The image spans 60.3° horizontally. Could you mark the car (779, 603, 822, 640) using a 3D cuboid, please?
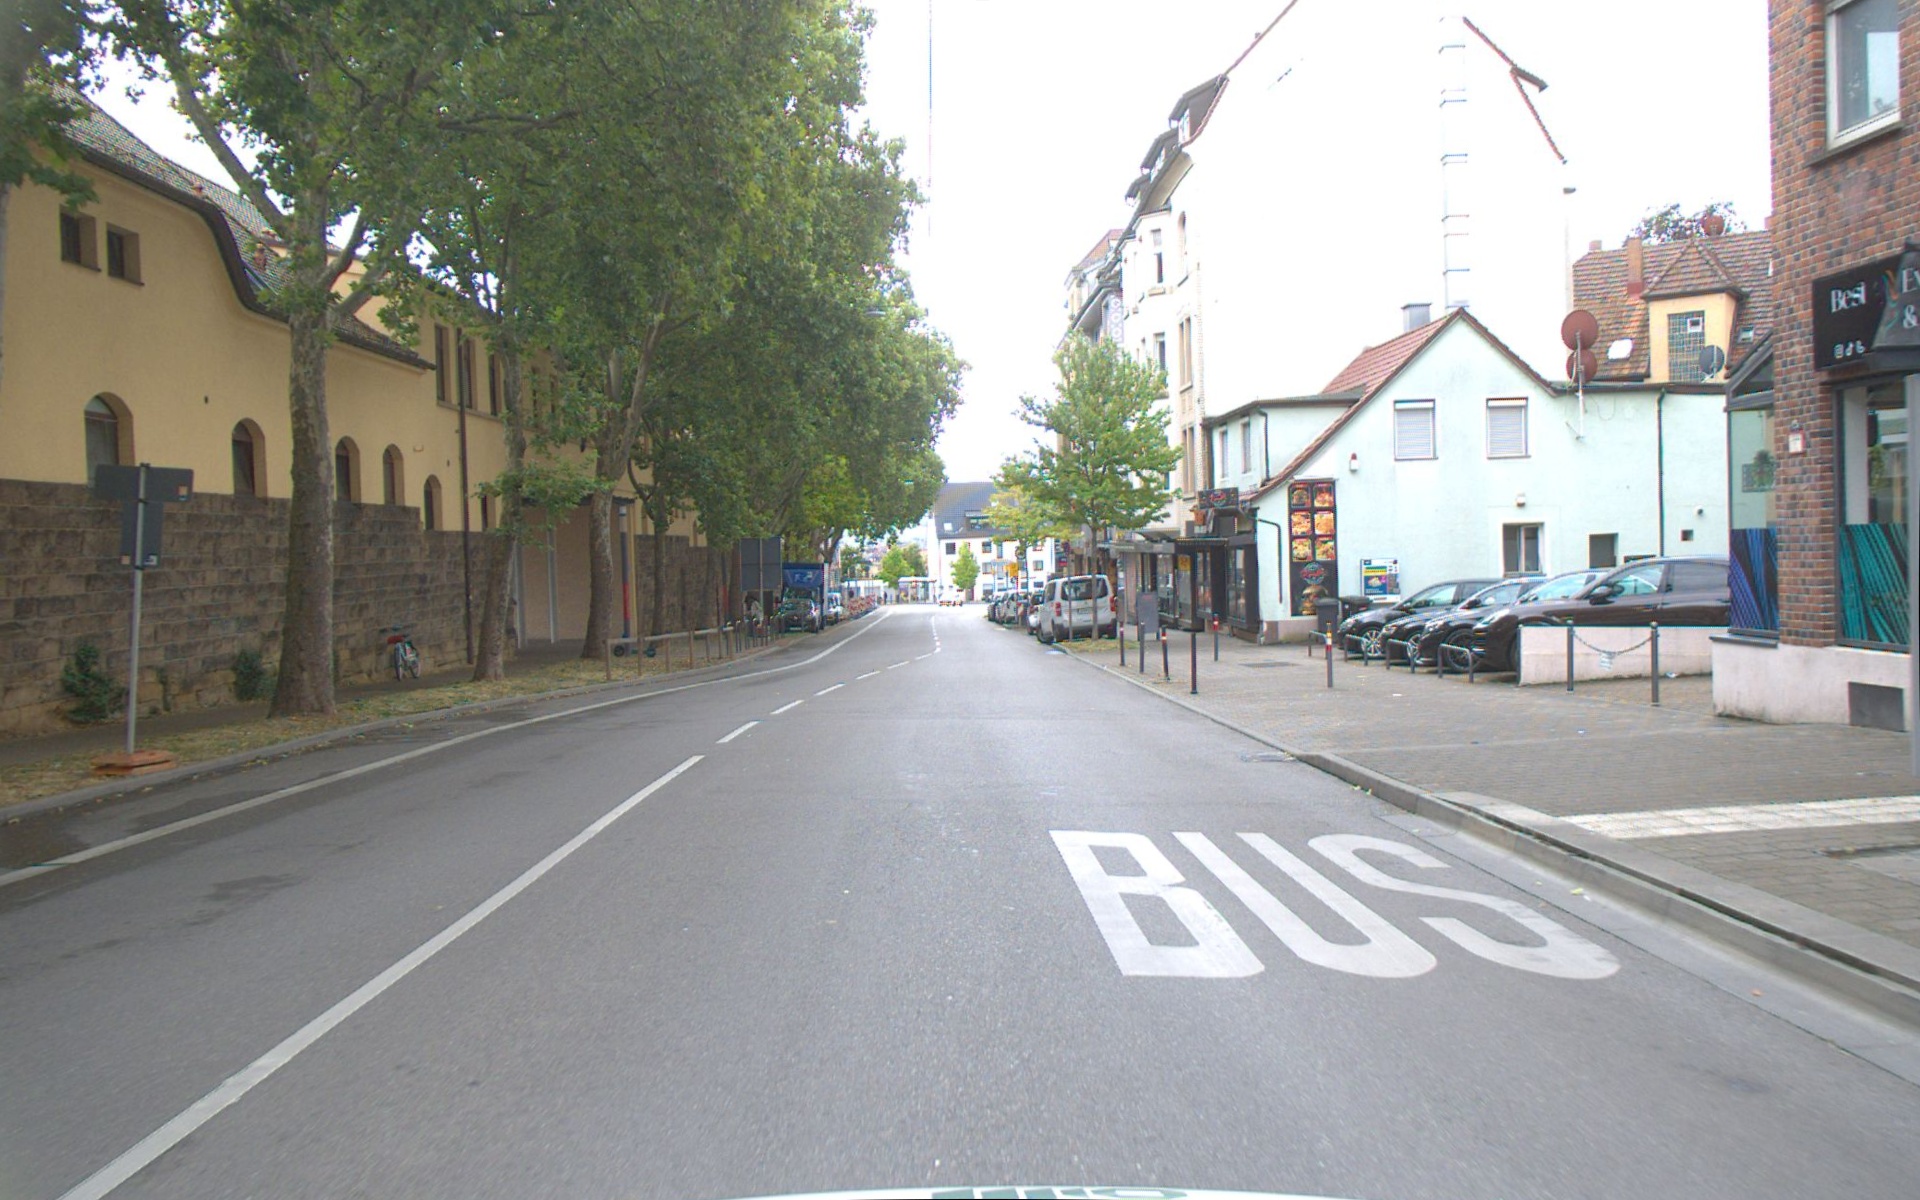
[{"bbox_3d":[-7.322,0.964,76.122,1.798,1.605,3.753,-2,0,-4],"label":"car"}]

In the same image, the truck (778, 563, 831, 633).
[{"bbox_3d":[-7.991,-0.140,85.604,2.186,3.404,7.447,-2,0,-2],"label":"truck"}]

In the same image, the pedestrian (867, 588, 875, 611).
[{"bbox_3d":[-8.007,-0.072,148.816,0.620,2.049,0.784,-2,0,0],"label":"pedestrian"}]

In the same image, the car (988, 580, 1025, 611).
[{"bbox_3d":[2.509,-0.256,90.501,1.636,1.574,3.753,-2,0,-4],"label":"car"}]

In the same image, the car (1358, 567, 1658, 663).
[{"bbox_3d":[9.591,0.261,28.974,4.804,1.519,1.854,-2,0,24],"label":"car"}]

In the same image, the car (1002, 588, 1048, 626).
[{"bbox_3d":[2.852,0.307,73.222,1.636,1.574,3.753,-2,0,-4],"label":"car"}]

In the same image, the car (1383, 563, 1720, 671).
[{"bbox_3d":[9.408,0.282,26.375,4.808,1.567,1.998,-2,0,28],"label":"car"}]

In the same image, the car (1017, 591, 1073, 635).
[{"bbox_3d":[3.209,0.472,63.025,1.636,1.574,3.753,-2,0,-4],"label":"car"}]

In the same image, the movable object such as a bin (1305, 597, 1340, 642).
[{"bbox_3d":[8.675,0.459,39.575,0.684,1.059,0.645,-2,0,0],"label":"movable object such as a bin"}]

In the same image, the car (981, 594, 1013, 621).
[{"bbox_3d":[2.301,0.443,103.429,1.636,1.574,3.753,-2,0,-4],"label":"car"}]

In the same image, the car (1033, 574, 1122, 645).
[{"bbox_3d":[3.482,0.255,49.826,1.954,1.969,4.915,-2,0,-4],"label":"car"}]

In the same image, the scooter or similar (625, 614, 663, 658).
[{"bbox_3d":[-8.889,1.013,46.521,1.010,1.205,0.490,-2,0,-11],"label":"scooter or similar"}]

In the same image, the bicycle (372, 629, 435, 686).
[{"bbox_3d":[-11.764,1.198,35.035,0.584,1.110,2.195,0,0,0],"label":"bicycle"}]

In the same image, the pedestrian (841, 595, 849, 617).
[{"bbox_3d":[-10.827,0.528,155.347,0.620,2.029,0.784,-2,0,0],"label":"pedestrian"}]

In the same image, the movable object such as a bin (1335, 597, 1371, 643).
[{"bbox_3d":[9.414,0.476,39.597,0.684,1.059,0.645,-2,0,0],"label":"movable object such as a bin"}]

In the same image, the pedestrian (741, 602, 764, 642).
[{"bbox_3d":[-8.161,0.868,65.122,0.665,1.563,0.605,-2,0,-31],"label":"pedestrian"}]

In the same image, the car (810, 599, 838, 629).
[{"bbox_3d":[-7.963,0.819,97.048,1.503,1.667,3.716,-2,0,-4],"label":"car"}]

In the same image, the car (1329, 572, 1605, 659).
[{"bbox_3d":[9.699,0.303,31.673,4.805,1.495,1.928,-2,0,26],"label":"car"}]

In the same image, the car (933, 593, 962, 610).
[{"bbox_3d":[-1.232,0.128,164.310,1.824,1.515,3.883,-2,0,15],"label":"car"}]

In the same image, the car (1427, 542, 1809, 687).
[{"bbox_3d":[9.379,0.218,23.693,4.807,1.702,1.998,-4,0,27],"label":"car"}]

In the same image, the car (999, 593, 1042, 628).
[{"bbox_3d":[2.886,0.481,79.716,1.636,1.574,3.753,-2,0,-4],"label":"car"}]
